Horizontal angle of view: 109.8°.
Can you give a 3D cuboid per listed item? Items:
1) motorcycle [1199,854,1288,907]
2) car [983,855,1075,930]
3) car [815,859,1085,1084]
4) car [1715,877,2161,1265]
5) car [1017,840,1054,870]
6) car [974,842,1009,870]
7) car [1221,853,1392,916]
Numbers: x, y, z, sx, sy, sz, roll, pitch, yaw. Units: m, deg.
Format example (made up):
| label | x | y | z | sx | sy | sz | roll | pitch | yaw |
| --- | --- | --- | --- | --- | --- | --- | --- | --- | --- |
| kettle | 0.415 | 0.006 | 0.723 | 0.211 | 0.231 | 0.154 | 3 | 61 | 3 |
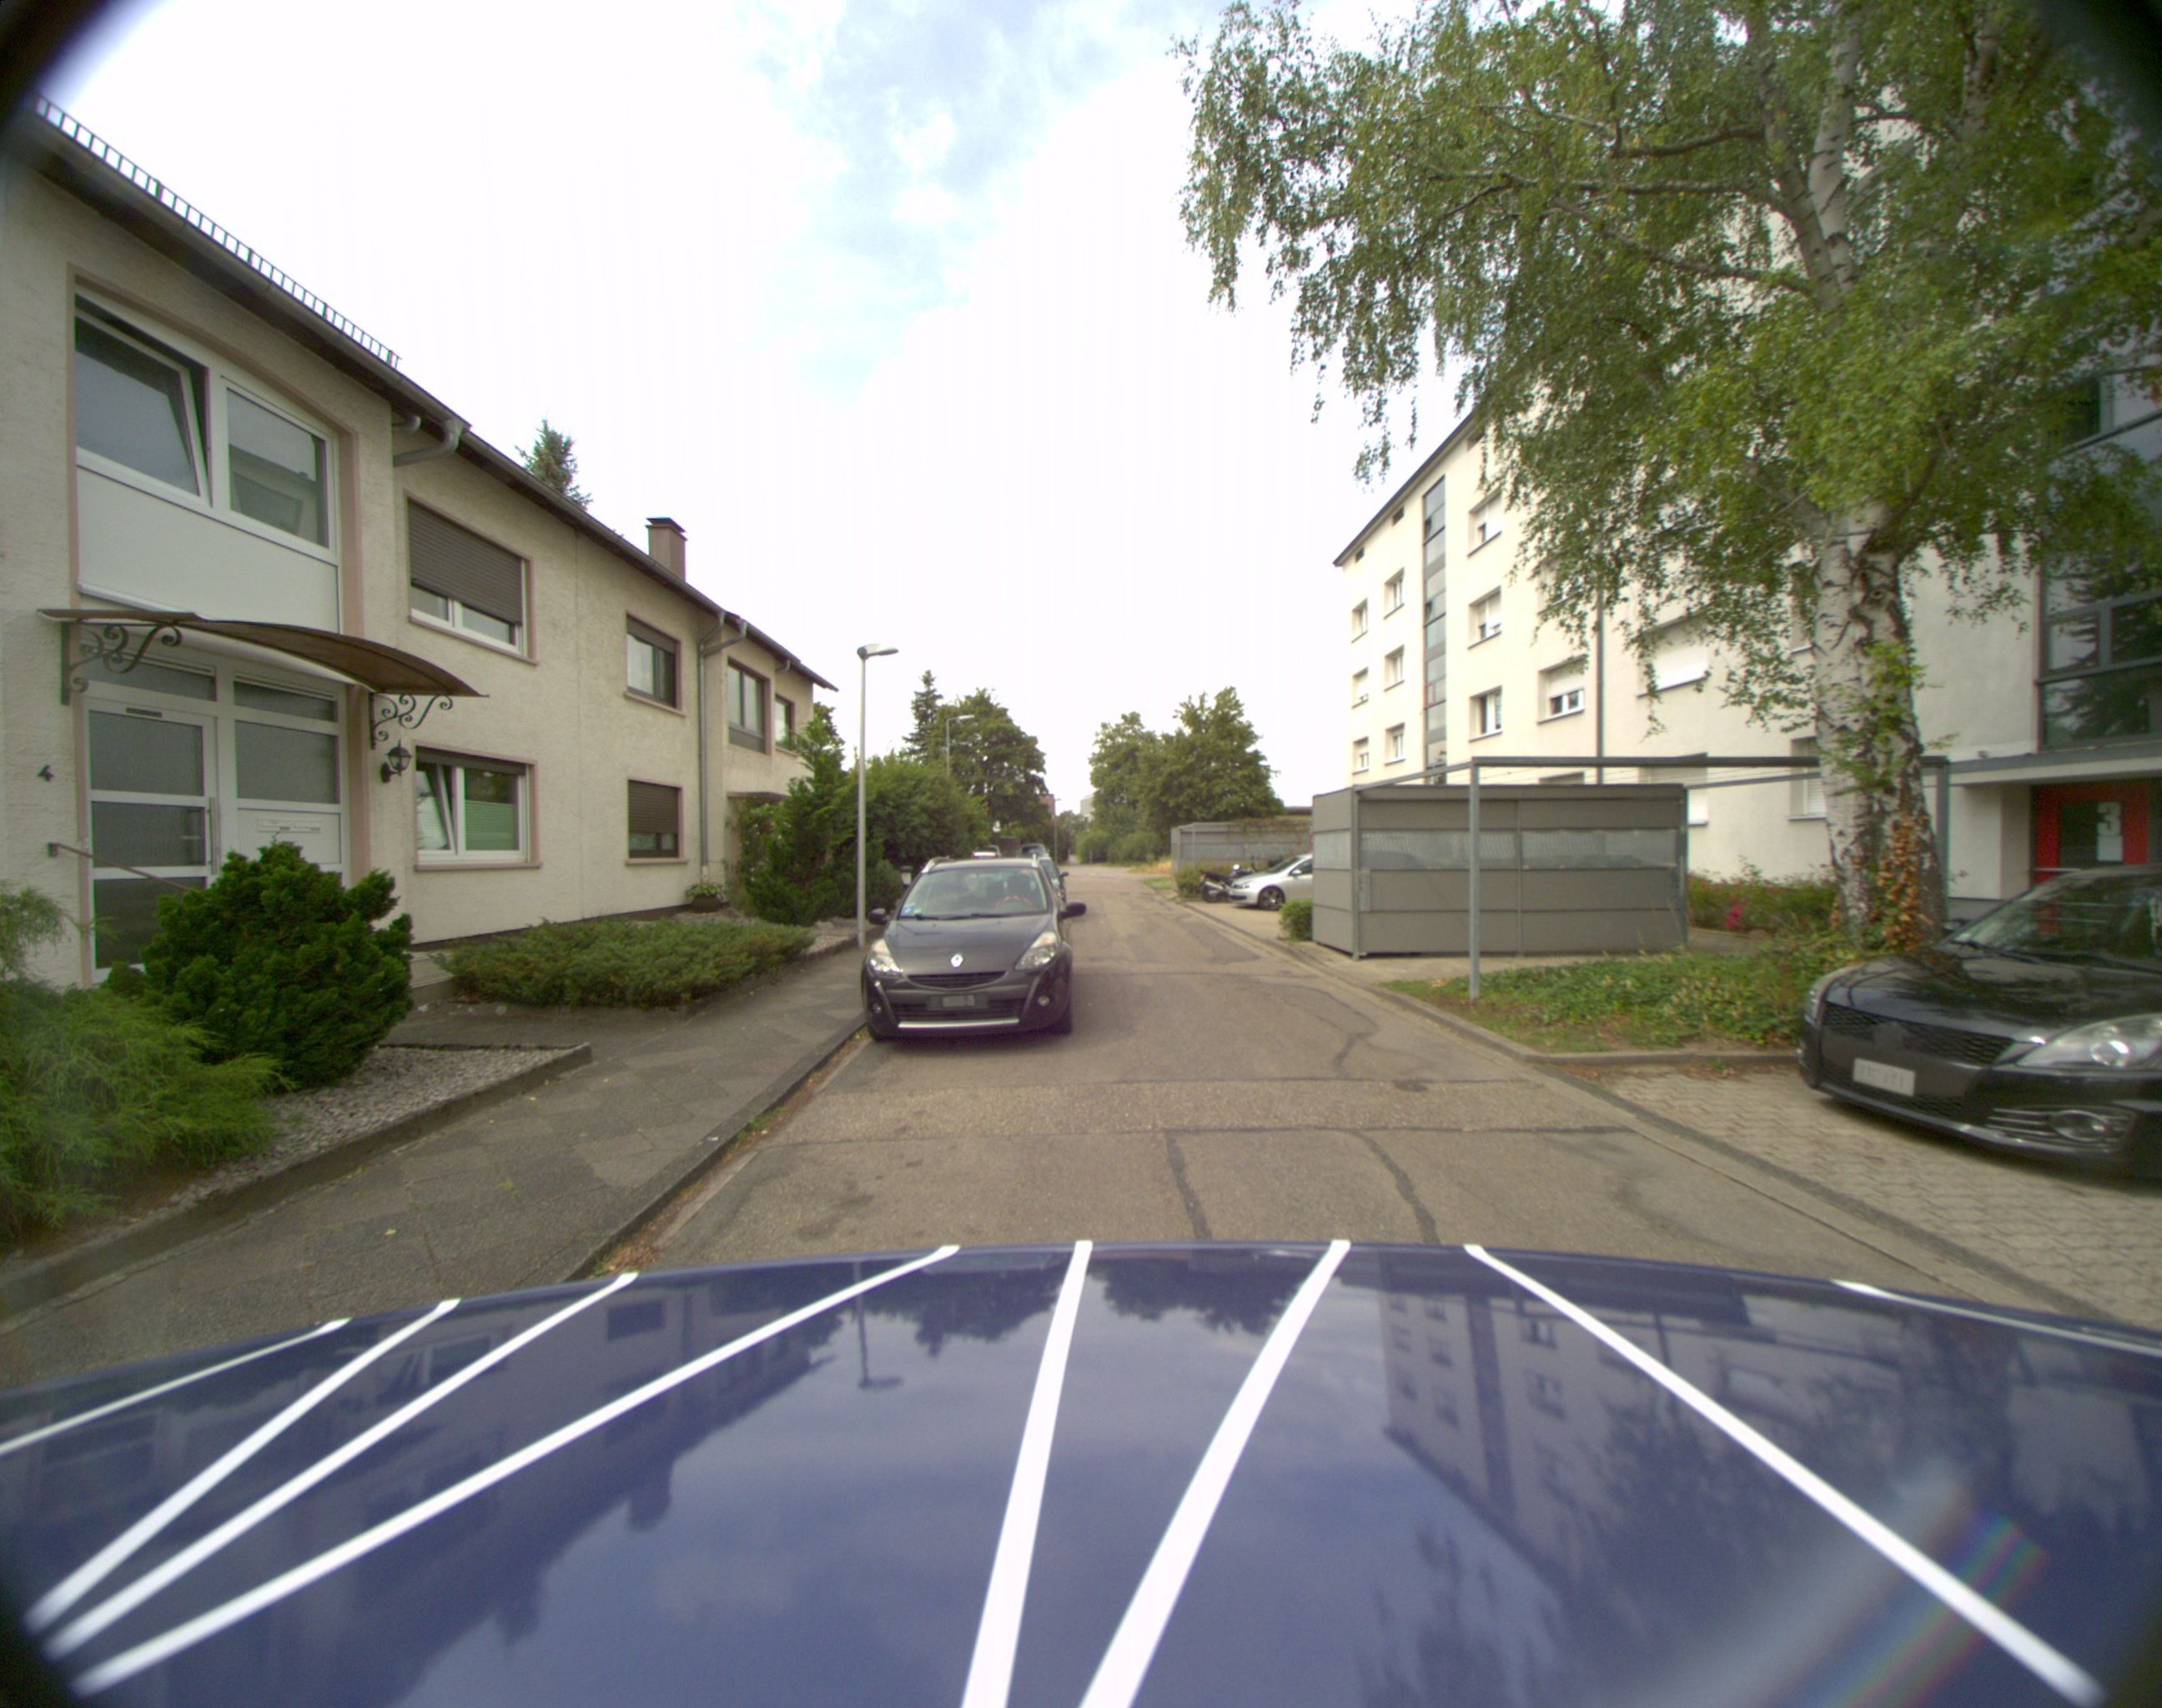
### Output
| label | x | y | z | sx | sy | sz | roll | pitch | yaw |
| --- | --- | --- | --- | --- | --- | --- | --- | --- | --- |
| motorcycle | 4.689 | 0.758 | 22.013 | 2.383 | 1.456 | 0.714 | 1 | 1 | -1 |
| car | -1.164 | 0.787 | 17.683 | 1.834 | 1.449 | 4.188 | -2 | 1 | -3 |
| car | -1.006 | 0.835 | 7.407 | 1.834 | 1.449 | 4.188 | -2 | 1 | -3 |
| car | 6.102 | 0.912 | 3.990 | 4.062 | 1.496 | 1.781 | 0 | 1 | -1 |
| car | -2.574 | 0.040 | 43.171 | 1.926 | 1.576 | 3.998 | -2 | 1 | -3 |
| car | -5.109 | 0.069 | 43.751 | 1.705 | 1.458 | 3.997 | 0 | 2 | -3 |
| car | 5.938 | 0.787 | 20.360 | 3.997 | 1.477 | 1.902 | 2 | 1 | 1 |
